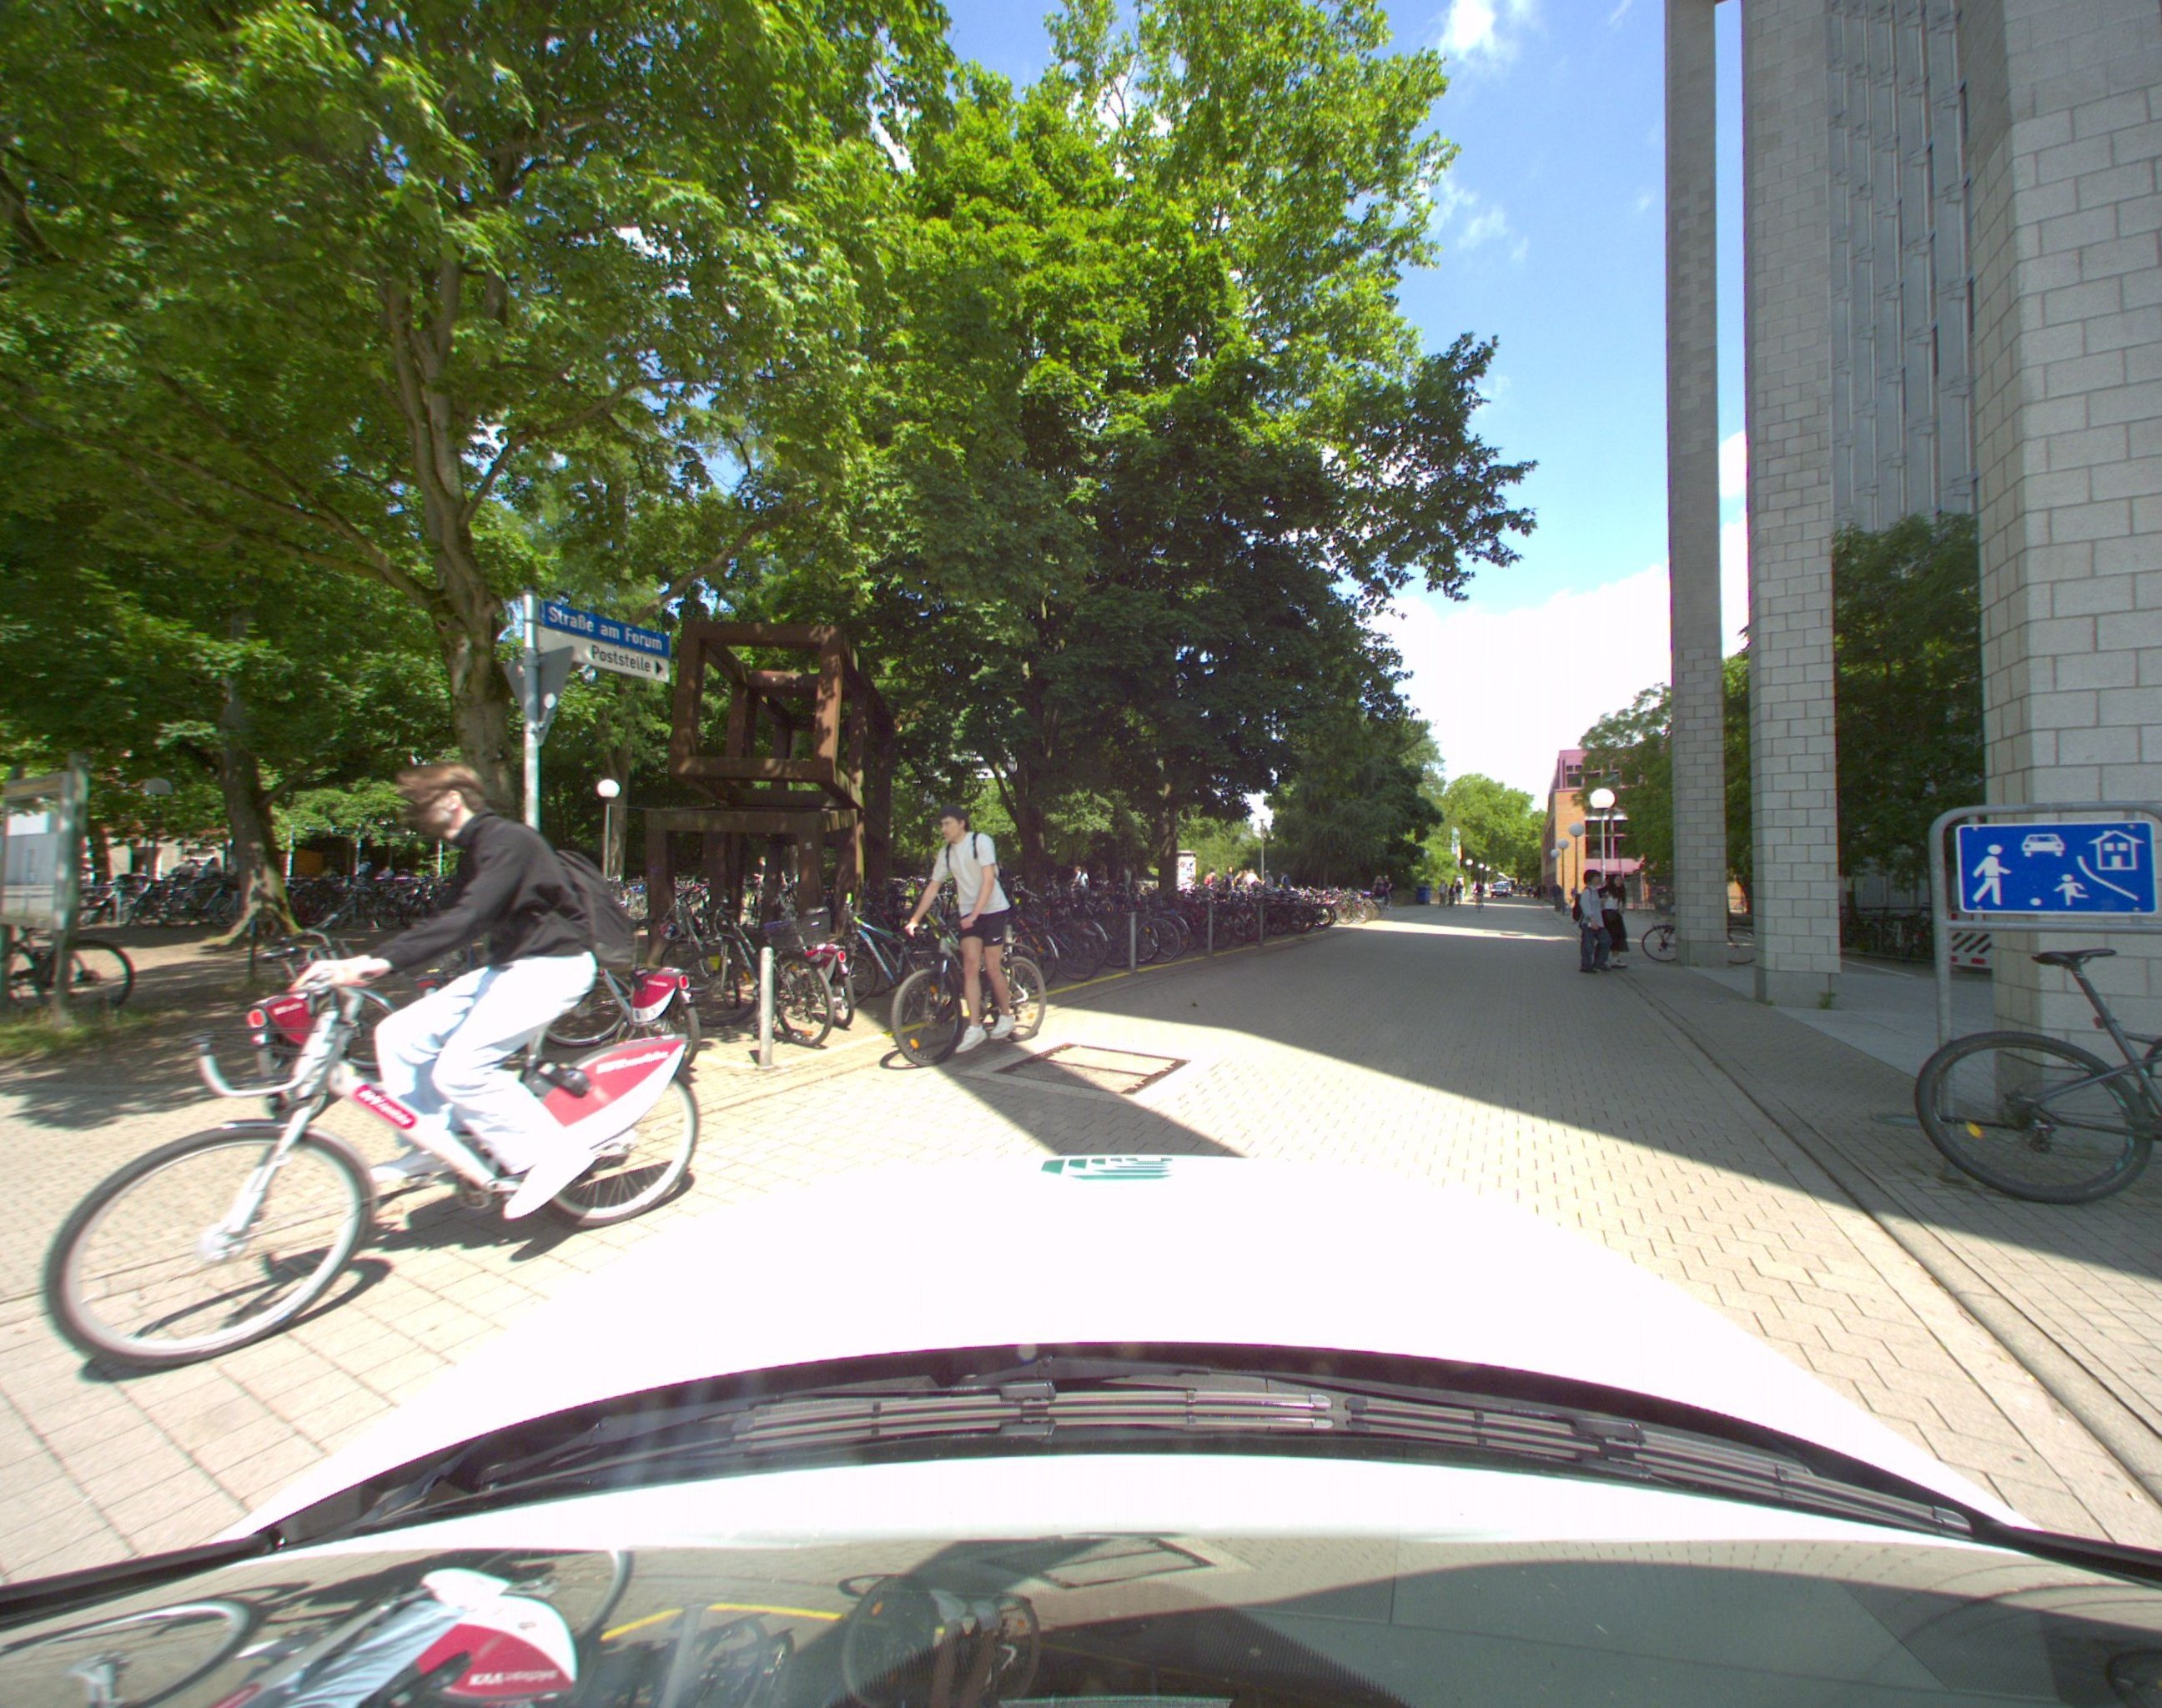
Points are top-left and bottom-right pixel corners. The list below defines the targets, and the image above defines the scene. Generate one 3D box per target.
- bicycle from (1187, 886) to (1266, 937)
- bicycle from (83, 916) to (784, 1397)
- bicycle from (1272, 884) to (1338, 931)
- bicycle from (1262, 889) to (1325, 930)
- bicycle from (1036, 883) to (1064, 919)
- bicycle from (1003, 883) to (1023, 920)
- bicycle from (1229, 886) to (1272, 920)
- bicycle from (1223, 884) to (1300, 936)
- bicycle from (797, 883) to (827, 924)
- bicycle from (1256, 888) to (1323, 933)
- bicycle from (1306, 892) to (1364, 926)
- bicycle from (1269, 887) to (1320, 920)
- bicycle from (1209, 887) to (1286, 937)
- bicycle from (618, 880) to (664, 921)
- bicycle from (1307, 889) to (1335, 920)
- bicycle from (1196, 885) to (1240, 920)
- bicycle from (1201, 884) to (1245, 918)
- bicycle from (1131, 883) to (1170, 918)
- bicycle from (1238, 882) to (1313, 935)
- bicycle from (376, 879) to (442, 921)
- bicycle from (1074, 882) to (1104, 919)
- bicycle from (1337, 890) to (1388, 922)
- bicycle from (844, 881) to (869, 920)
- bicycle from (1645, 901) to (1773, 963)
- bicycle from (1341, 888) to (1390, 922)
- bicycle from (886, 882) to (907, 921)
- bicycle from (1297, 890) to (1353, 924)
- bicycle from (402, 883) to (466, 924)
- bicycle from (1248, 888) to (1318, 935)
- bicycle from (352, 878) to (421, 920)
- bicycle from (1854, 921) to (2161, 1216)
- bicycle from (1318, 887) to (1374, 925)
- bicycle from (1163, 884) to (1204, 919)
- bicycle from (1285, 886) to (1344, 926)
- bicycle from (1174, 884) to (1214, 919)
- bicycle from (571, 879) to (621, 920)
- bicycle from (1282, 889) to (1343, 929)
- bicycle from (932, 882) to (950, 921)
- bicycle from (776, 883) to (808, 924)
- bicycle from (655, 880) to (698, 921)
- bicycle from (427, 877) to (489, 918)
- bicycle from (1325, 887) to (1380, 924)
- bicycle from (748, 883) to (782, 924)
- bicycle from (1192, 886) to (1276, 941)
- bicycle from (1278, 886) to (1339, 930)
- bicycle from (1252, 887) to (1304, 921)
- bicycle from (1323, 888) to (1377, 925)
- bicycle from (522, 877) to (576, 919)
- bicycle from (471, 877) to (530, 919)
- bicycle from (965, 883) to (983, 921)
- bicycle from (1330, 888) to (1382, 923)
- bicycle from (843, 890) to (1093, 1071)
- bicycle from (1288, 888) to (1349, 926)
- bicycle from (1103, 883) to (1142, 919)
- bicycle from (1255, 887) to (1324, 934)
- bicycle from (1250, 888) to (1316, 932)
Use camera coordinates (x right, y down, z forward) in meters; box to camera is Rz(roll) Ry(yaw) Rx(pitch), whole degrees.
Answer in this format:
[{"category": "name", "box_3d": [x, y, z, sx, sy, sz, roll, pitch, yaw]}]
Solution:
[{"category": "bicycle", "box_3d": [3.295, 1.302, 18.558, 1.727, 1.108, 0.497, 1, -2, 5]}, {"category": "bicycle", "box_3d": [-2.186, 0.861, 3.054, 0.666, 1.140, 1.897, 1, 0, 44]}, {"category": "bicycle", "box_3d": [6.121, 1.447, 22.215, 1.680, 1.199, 0.539, 1, -2, 20]}, {"category": "bicycle", "box_3d": [6.059, 1.563, 23.196, 1.681, 1.108, 0.568, 1, -2, 17]}, {"category": "bicycle", "box_3d": [-0.977, 1.454, 25.528, 0.473, 1.084, 1.690, 2, -2, -16]}, {"category": "bicycle", "box_3d": [-2.101, 1.445, 24.954, 0.472, 1.084, 1.694, 1, -2, -8]}, {"category": "bicycle", "box_3d": [5.731, 1.649, 27.574, 0.475, 1.084, 1.685, 2, -2, -26]}, {"category": "bicycle", "box_3d": [4.367, 1.331, 19.743, 1.719, 1.179, 0.500, 0, -2, 28]}, {"category": "bicycle", "box_3d": [-7.644, 1.388, 23.182, 0.472, 1.084, 1.853, 1, -2, -8]}, {"category": "bicycle", "box_3d": [5.497, 1.478, 21.439, 1.681, 1.108, 0.476, 1, -2, 17]}, {"category": "bicycle", "box_3d": [7.990, 1.722, 25.663, 1.692, 1.019, 0.473, 1, -2, -6]}, {"category": "bicycle", "box_3d": [7.481, 1.740, 28.604, 1.678, 1.084, 0.477, 0, -2, 41]}, {"category": "bicycle", "box_3d": [3.926, 1.353, 19.190, 1.722, 1.108, 0.499, 1, -2, 16]}, {"category": "bicycle", "box_3d": [-12.334, 1.276, 22.872, 0.472, 1.084, 1.853, 1, -2, -8]}, {"category": "bicycle", "box_3d": [8.624, 1.803, 29.255, 0.502, 1.084, 1.710, 0, -2, 32]}, {"category": "bicycle", "box_3d": [4.515, 1.601, 26.882, 0.475, 1.084, 1.683, 2, -2, -30]}, {"category": "bicycle", "box_3d": [4.766, 1.582, 27.448, 0.475, 1.084, 1.683, 2, -2, -30]}, {"category": "bicycle", "box_3d": [2.243, 1.500, 26.496, 0.475, 1.084, 1.685, 2, -2, -25]}, {"category": "bicycle", "box_3d": [4.808, 1.339, 20.145, 1.720, 1.236, 0.499, 0, -2, 21]}, {"category": "bicycle", "box_3d": [-18.439, 1.233, 22.400, 0.472, 1.084, 1.853, 1, -2, -8]}, {"category": "bicycle", "box_3d": [0.242, 1.450, 25.736, 0.473, 1.084, 1.690, 2, -2, -16]}, {"category": "bicycle", "box_3d": [10.104, 1.859, 29.220, 1.679, 1.091, 0.476, 0, -2, 23]}, {"category": "bicycle", "box_3d": [-6.499, 1.329, 23.643, 0.472, 1.084, 1.694, 1, -2, -8]}, {"category": "bicycle", "box_3d": [11.145, 1.365, 14.503, 1.723, 1.039, 0.452, -1, -1, 24]}, {"category": "bicycle", "box_3d": [10.352, 1.838, 29.623, 1.680, 1.159, 0.476, 1, -2, 20]}, {"category": "bicycle", "box_3d": [-5.480, 1.400, 24.256, 0.472, 1.084, 1.694, 1, -2, -8]}, {"category": "bicycle", "box_3d": [7.837, 1.696, 26.153, 1.692, 1.062, 0.473, 1, -2, -6]}, {"category": "bicycle", "box_3d": [-17.909, 1.347, 22.587, 0.472, 1.084, 1.853, 1, -2, -8]}, {"category": "bicycle", "box_3d": [5.096, 1.436, 20.532, 1.680, 1.108, 0.499, 1, -2, 18]}, {"category": "bicycle", "box_3d": [-19.042, 1.216, 22.379, 0.472, 1.084, 1.853, 1, -2, -8]}, {"category": "bicycle", "box_3d": [4.733, 0.892, 3.533, 1.863, 1.164, 0.608, -2, -2, 24]}, {"category": "bicycle", "box_3d": [8.685, 1.694, 26.714, 1.683, 1.168, 0.475, 1, -2, 12]}, {"category": "bicycle", "box_3d": [3.367, 1.552, 26.853, 0.475, 1.084, 1.685, 2, -2, -25]}, {"category": "bicycle", "box_3d": [7.192, 1.594, 25.128, 1.688, 1.157, 0.474, 1, -2, 1]}, {"category": "bicycle", "box_3d": [3.758, 1.570, 27.145, 0.475, 1.084, 1.685, 2, -2, -25]}, {"category": "bicycle", "box_3d": [-13.415, 1.231, 22.563, 0.472, 1.084, 1.853, 1, -2, -8]}, {"category": "bicycle", "box_3d": [6.824, 1.604, 24.016, 1.681, 1.108, 0.585, 1, -2, 17]}, {"category": "bicycle", "box_3d": [-4.111, 1.383, 23.997, 0.472, 1.084, 1.694, 1, -2, -8]}, {"category": "bicycle", "box_3d": [-8.213, 1.385, 23.227, 0.472, 1.084, 1.853, 1, -2, -8]}, {"category": "bicycle", "box_3d": [-11.343, 1.296, 22.891, 0.472, 1.084, 1.853, 1, -2, -8]}, {"category": "bicycle", "box_3d": [-17.247, 1.174, 22.593, 0.472, 1.084, 1.853, 1, -2, -8]}, {"category": "bicycle", "box_3d": [9.265, 1.739, 27.833, 1.759, 1.168, 0.477, 0, -3, 42]}, {"category": "bicycle", "box_3d": [-8.893, 1.376, 22.986, 0.472, 1.084, 1.853, 1, -2, -8]}, {"category": "bicycle", "box_3d": [3.330, 1.283, 17.793, 1.719, 1.126, 0.500, 0, -2, 24]}, {"category": "bicycle", "box_3d": [6.577, 1.549, 23.547, 1.681, 1.188, 0.476, 1, -2, 17]}, {"category": "bicycle", "box_3d": [6.712, 1.681, 27.797, 1.678, 1.084, 0.477, 0, -3, 42]}, {"category": "bicycle", "box_3d": [8.972, 1.728, 27.179, 1.681, 1.168, 0.476, 1, -2, 16]}, {"category": "bicycle", "box_3d": [-14.615, 1.189, 22.429, 0.472, 1.084, 1.853, 1, -2, -8]}, {"category": "bicycle", "box_3d": [-15.915, 1.181, 22.378, 0.472, 1.084, 1.853, 1, -2, -8]}, {"category": "bicycle", "box_3d": [-3.215, 1.427, 24.455, 0.472, 1.084, 1.694, 1, -2, -8]}, {"category": "bicycle", "box_3d": [9.656, 1.791, 28.595, 1.679, 1.168, 0.476, 0, -2, 23]}, {"category": "bicycle", "box_3d": [-0.808, 0.886, 6.416, 0.795, 1.172, 1.898, 1, -2, 37]}, {"category": "bicycle", "box_3d": [7.179, 1.604, 24.662, 1.688, 1.108, 0.474, 1, -2, 1]}, {"category": "bicycle", "box_3d": [1.309, 1.466, 25.882, 0.475, 1.084, 1.685, 2, -2, -25]}, {"category": "bicycle", "box_3d": [5.365, 1.447, 20.988, 1.681, 1.145, 0.476, 1, -2, 17]}, {"category": "bicycle", "box_3d": [5.442, 1.484, 21.897, 1.681, 1.108, 0.476, 1, -2, 17]}]
